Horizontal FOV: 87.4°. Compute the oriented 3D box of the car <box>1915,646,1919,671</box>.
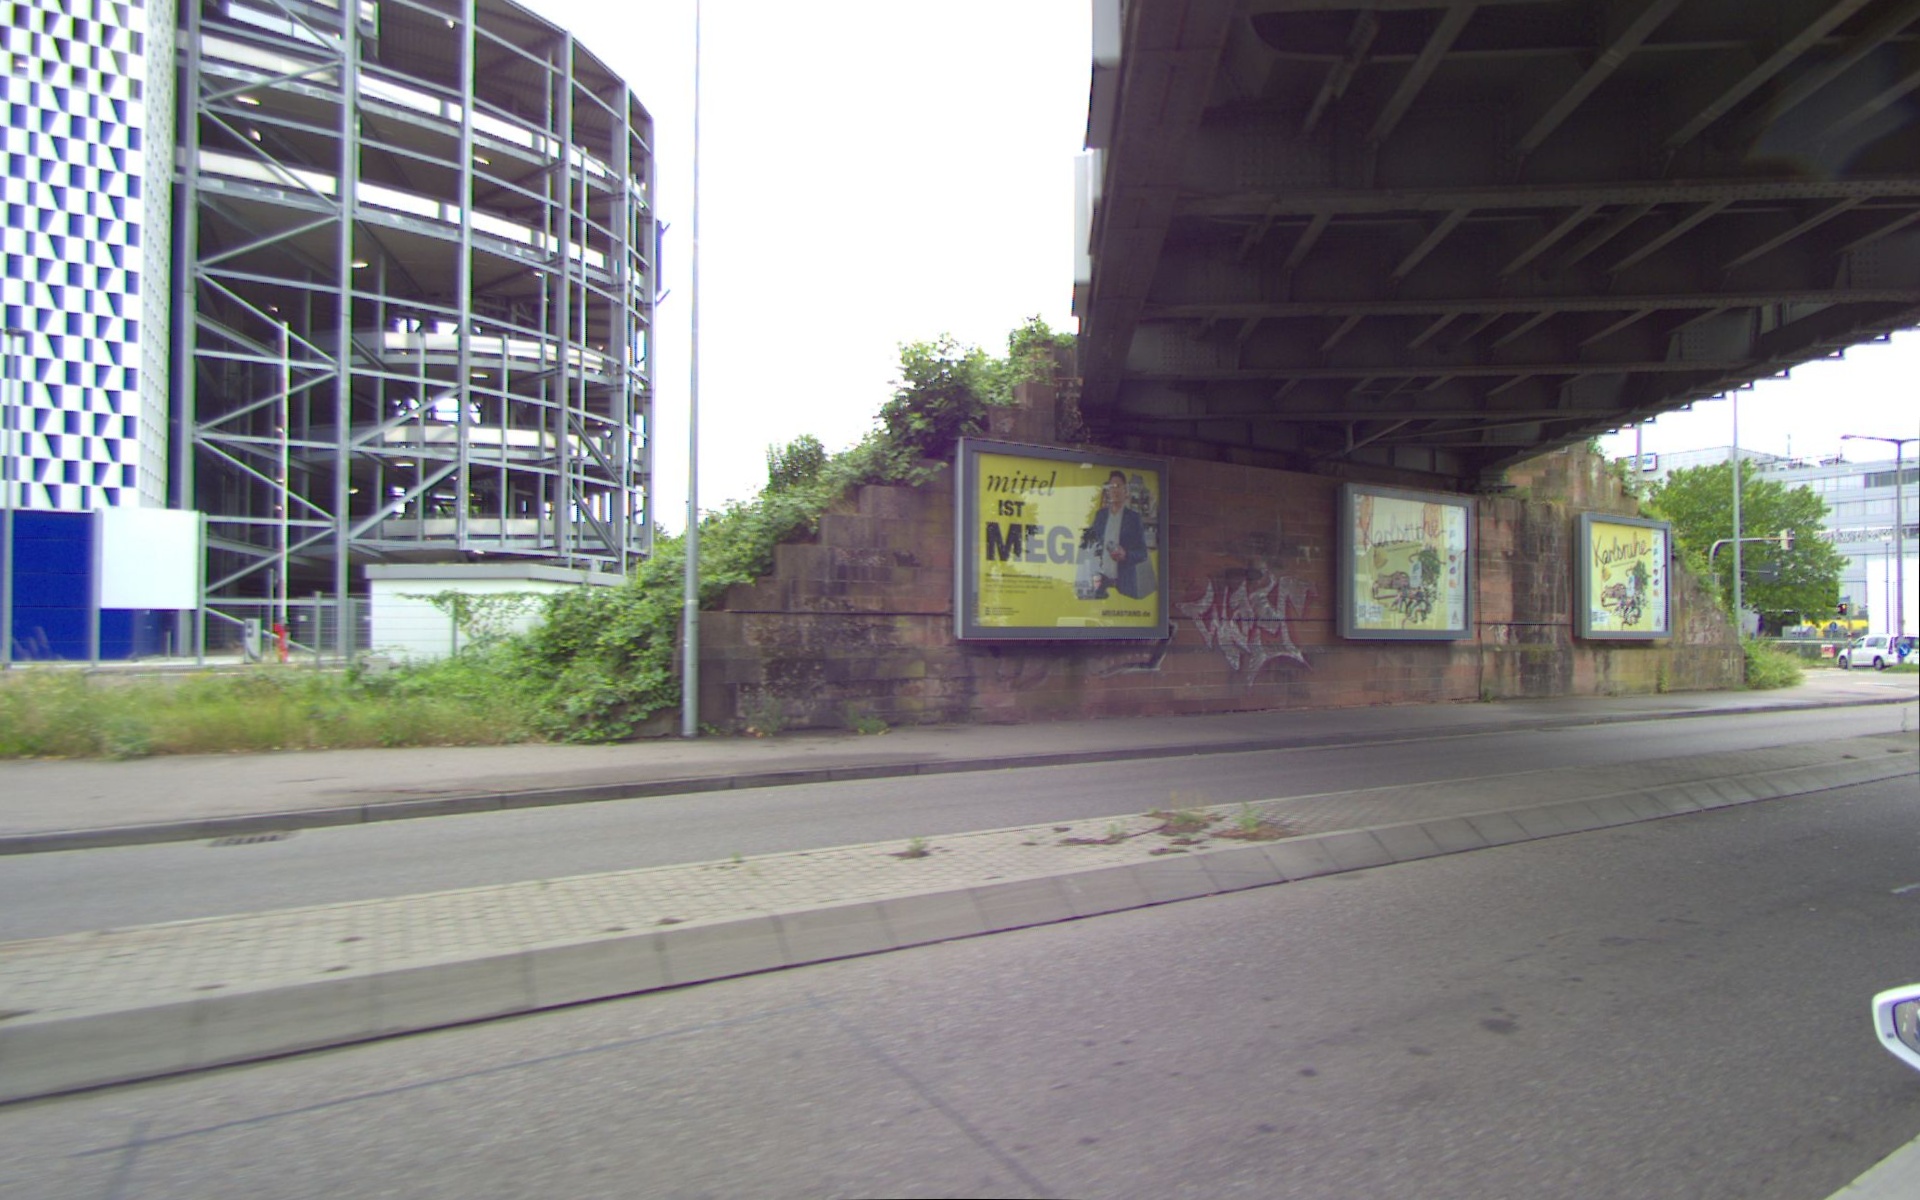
[{"bbox_3d":[60.944,3.609,61.166,1.743,1.548,3.662,0,-2,-11],"label":"car"}]

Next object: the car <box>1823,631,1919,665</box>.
[{"bbox_3d":[46.254,2.395,50.785,1.928,1.548,5.013,0,-1,13],"label":"car"}]

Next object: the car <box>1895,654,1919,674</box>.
[{"bbox_3d":[75.375,4.948,77.581,1.889,1.552,4.195,1,-3,-28],"label":"car"}]
